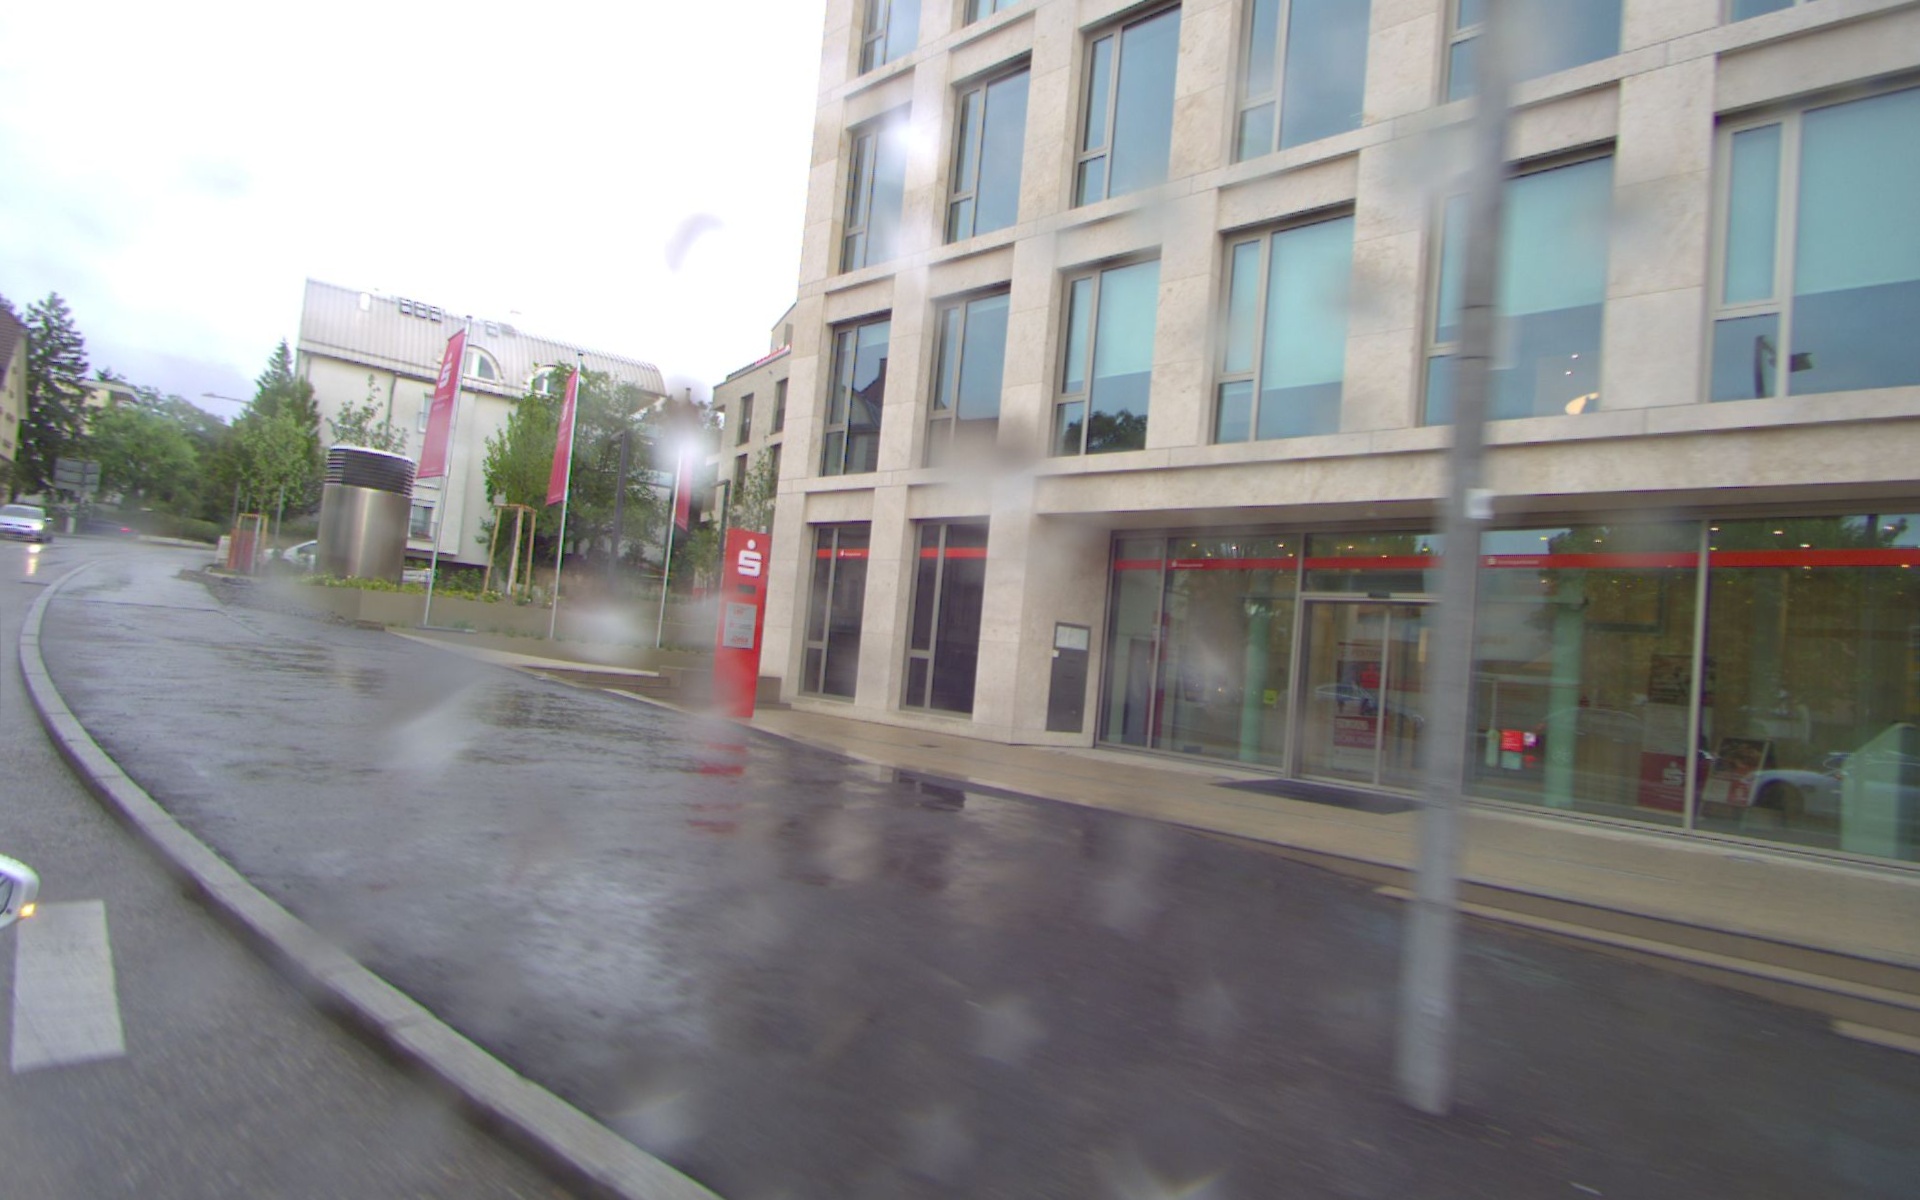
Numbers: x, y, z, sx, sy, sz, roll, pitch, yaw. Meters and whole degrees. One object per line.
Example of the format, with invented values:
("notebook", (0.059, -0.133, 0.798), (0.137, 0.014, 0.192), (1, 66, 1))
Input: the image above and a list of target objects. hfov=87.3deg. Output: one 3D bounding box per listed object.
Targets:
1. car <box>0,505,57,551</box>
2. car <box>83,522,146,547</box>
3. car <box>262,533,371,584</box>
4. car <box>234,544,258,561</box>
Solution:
("car", (-39.136, -2.997, 41.900), (1.620, 1.616, 3.204), (10, -3, -34))
("car", (-67.456, -5.224, 80.326), (3.674, 1.302, 1.678), (11, -3, -38))
("car", (-23.722, -1.511, 37.122), (3.205, 1.302, 1.680), (10, -3, -35))
("car", (-71.078, -4.733, 100.221), (1.681, 1.303, 3.204), (10, -3, -34))
